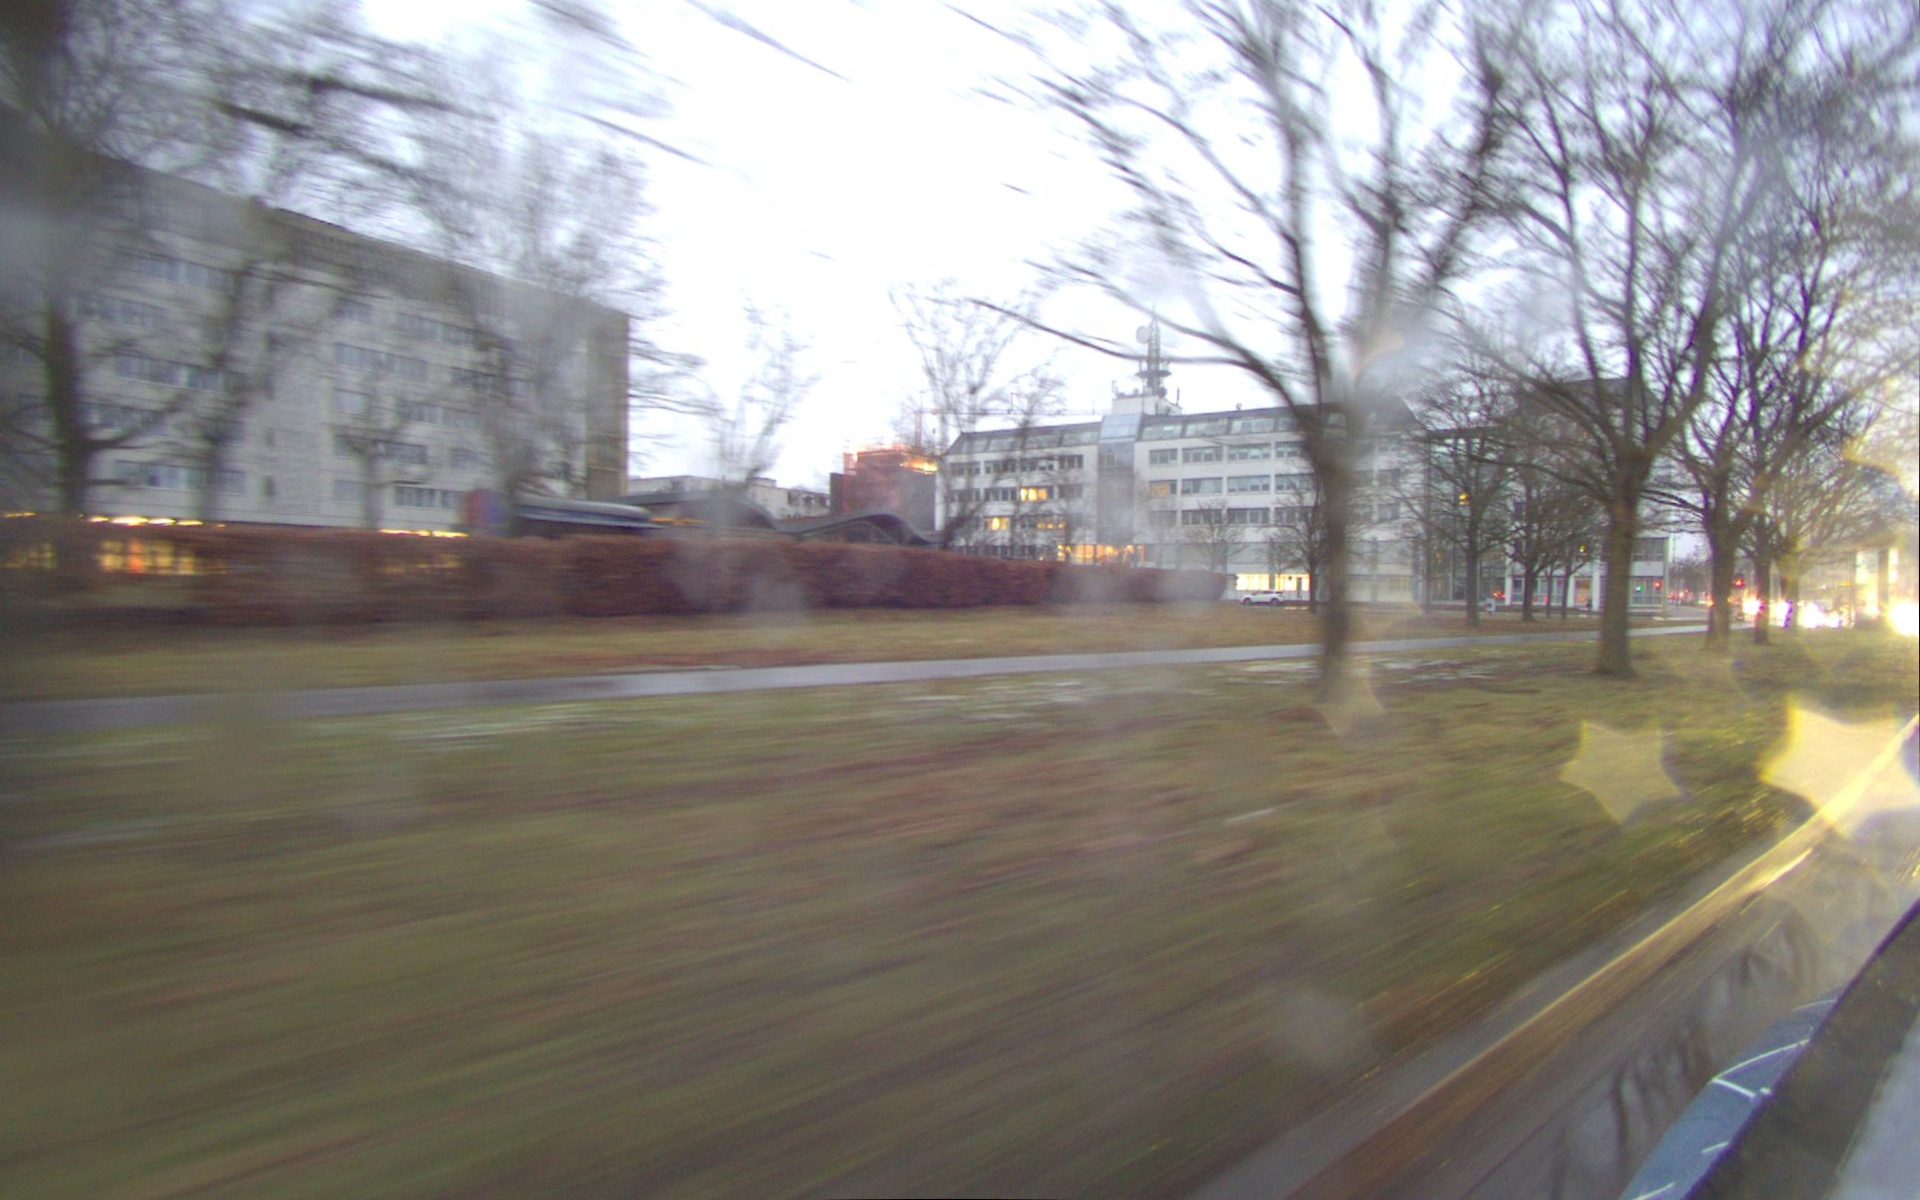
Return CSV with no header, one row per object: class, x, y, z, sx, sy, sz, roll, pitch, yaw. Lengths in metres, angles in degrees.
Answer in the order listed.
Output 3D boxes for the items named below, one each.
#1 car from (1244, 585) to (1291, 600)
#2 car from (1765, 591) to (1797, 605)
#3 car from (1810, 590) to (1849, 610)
car,30.496,-0.739,100.264,4.130,1.456,1.884,1,1,30
car,81.889,-0.208,100.968,1.985,1.340,3.954,1,1,33
car,69.261,0.003,80.643,1.938,1.575,4.163,-1,0,36
